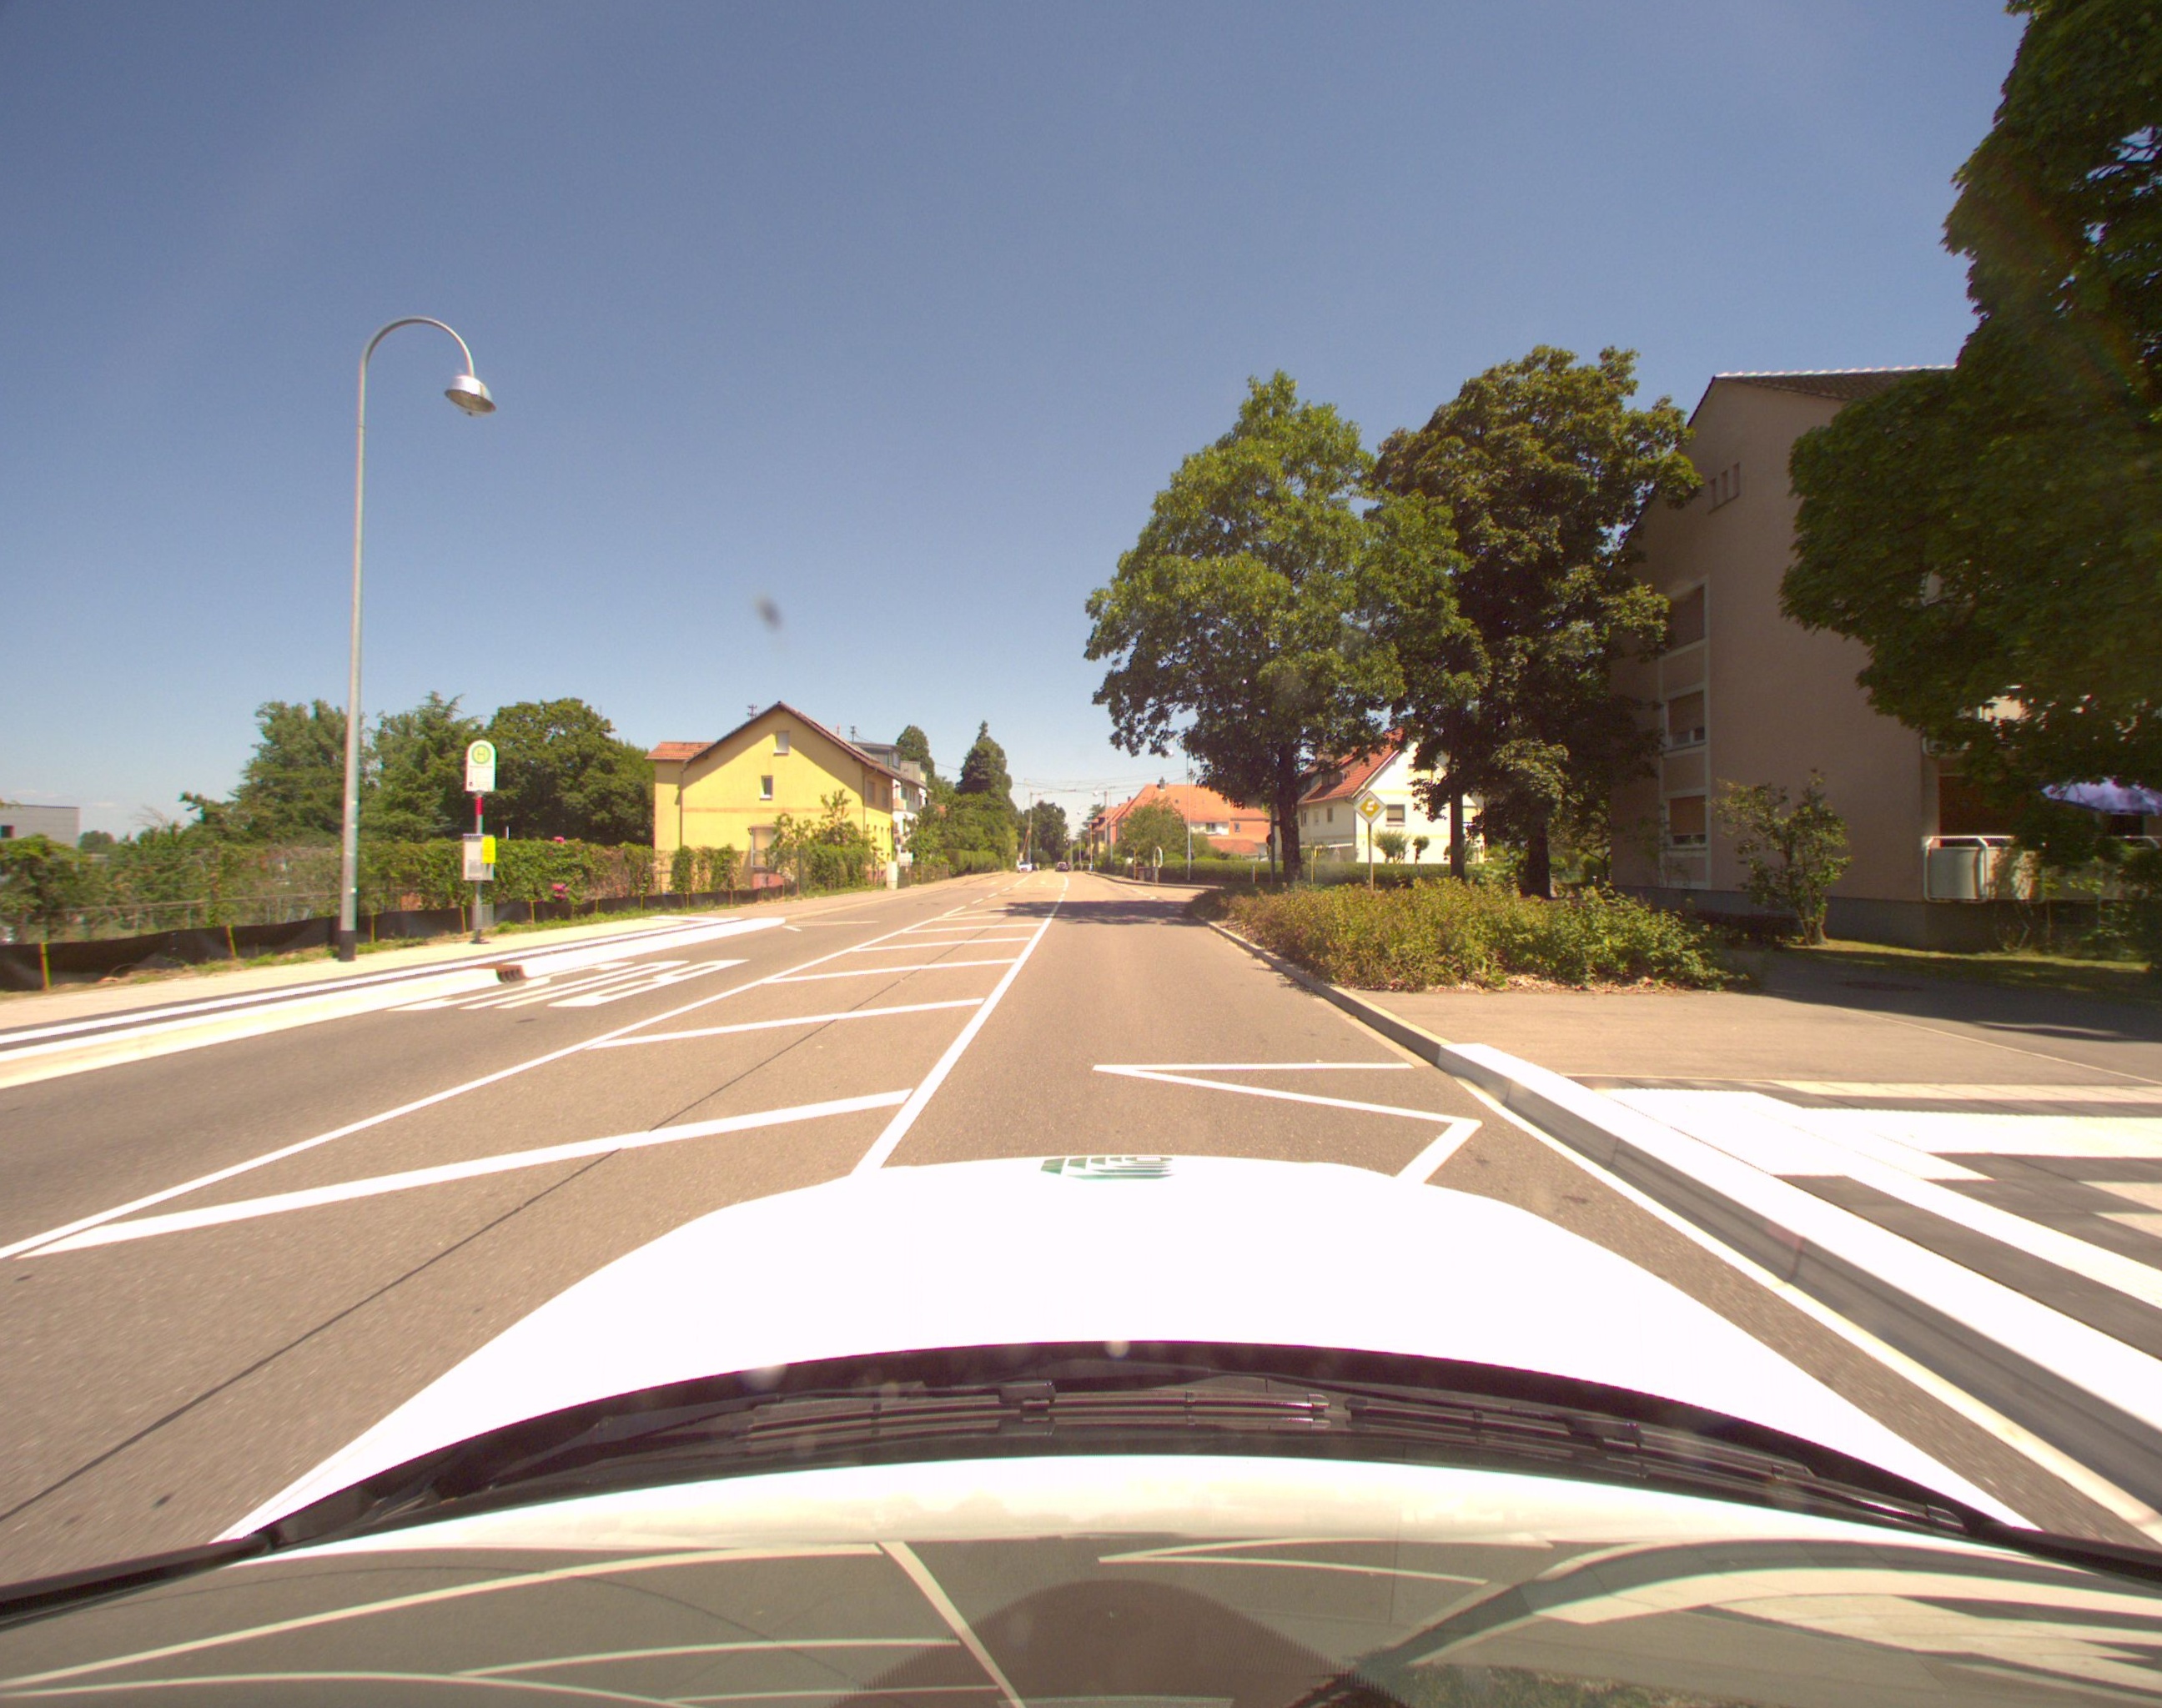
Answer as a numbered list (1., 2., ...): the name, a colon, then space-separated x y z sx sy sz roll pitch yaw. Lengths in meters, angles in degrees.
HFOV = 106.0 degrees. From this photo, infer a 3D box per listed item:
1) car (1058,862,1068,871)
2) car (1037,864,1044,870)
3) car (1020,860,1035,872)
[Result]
1. car: -3.151 2.219 143.396 1.689 1.419 4.544 0 -2 -4
2. car: -12.321 3.953 247.159 1.988 1.850 4.709 0 1 -1
3. car: -6.929 1.523 105.377 1.676 1.372 4.204 -1 0 -1
